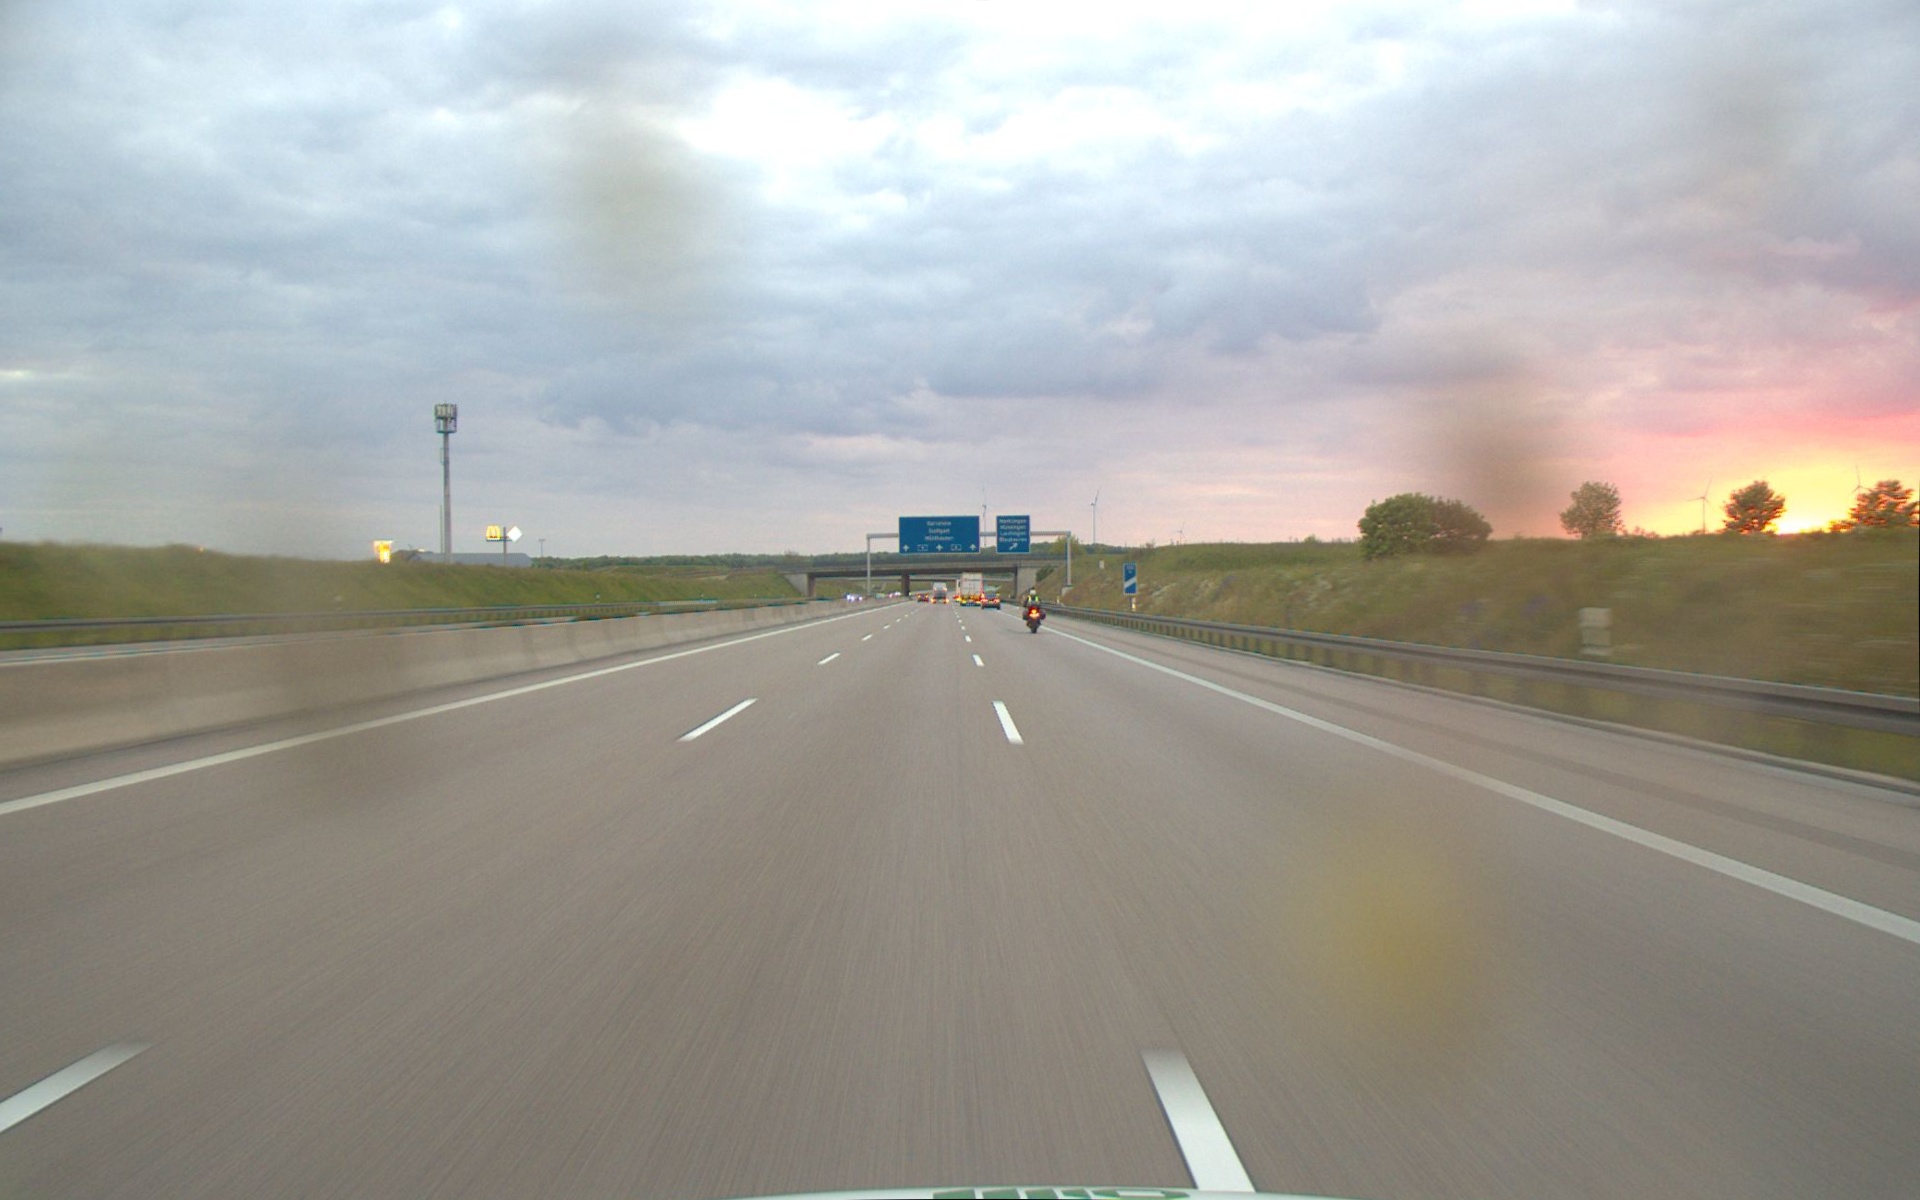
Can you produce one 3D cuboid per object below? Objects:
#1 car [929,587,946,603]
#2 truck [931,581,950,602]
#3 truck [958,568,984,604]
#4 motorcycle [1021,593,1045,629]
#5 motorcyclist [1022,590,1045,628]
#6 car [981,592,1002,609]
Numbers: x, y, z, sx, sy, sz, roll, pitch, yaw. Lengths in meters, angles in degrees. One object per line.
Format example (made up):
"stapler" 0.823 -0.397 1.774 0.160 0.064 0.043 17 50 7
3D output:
"car" -3.454 -0.742 247.874 2.465 2.433 6.494 0 0 -1
"truck" -3.131 -1.384 264.148 2.892 3.273 8.404 1 1 -1
"truck" 1.360 -1.801 206.090 3.167 4.301 9.599 1 1 0
"motorcycle" 2.910 0.443 66.065 0.883 1.370 2.349 0 1 0
"motorcyclist" 2.920 0.353 65.944 0.848 1.513 1.168 1 1 1
"car" 3.110 0.045 164.155 1.879 1.607 3.999 0 0 -1
